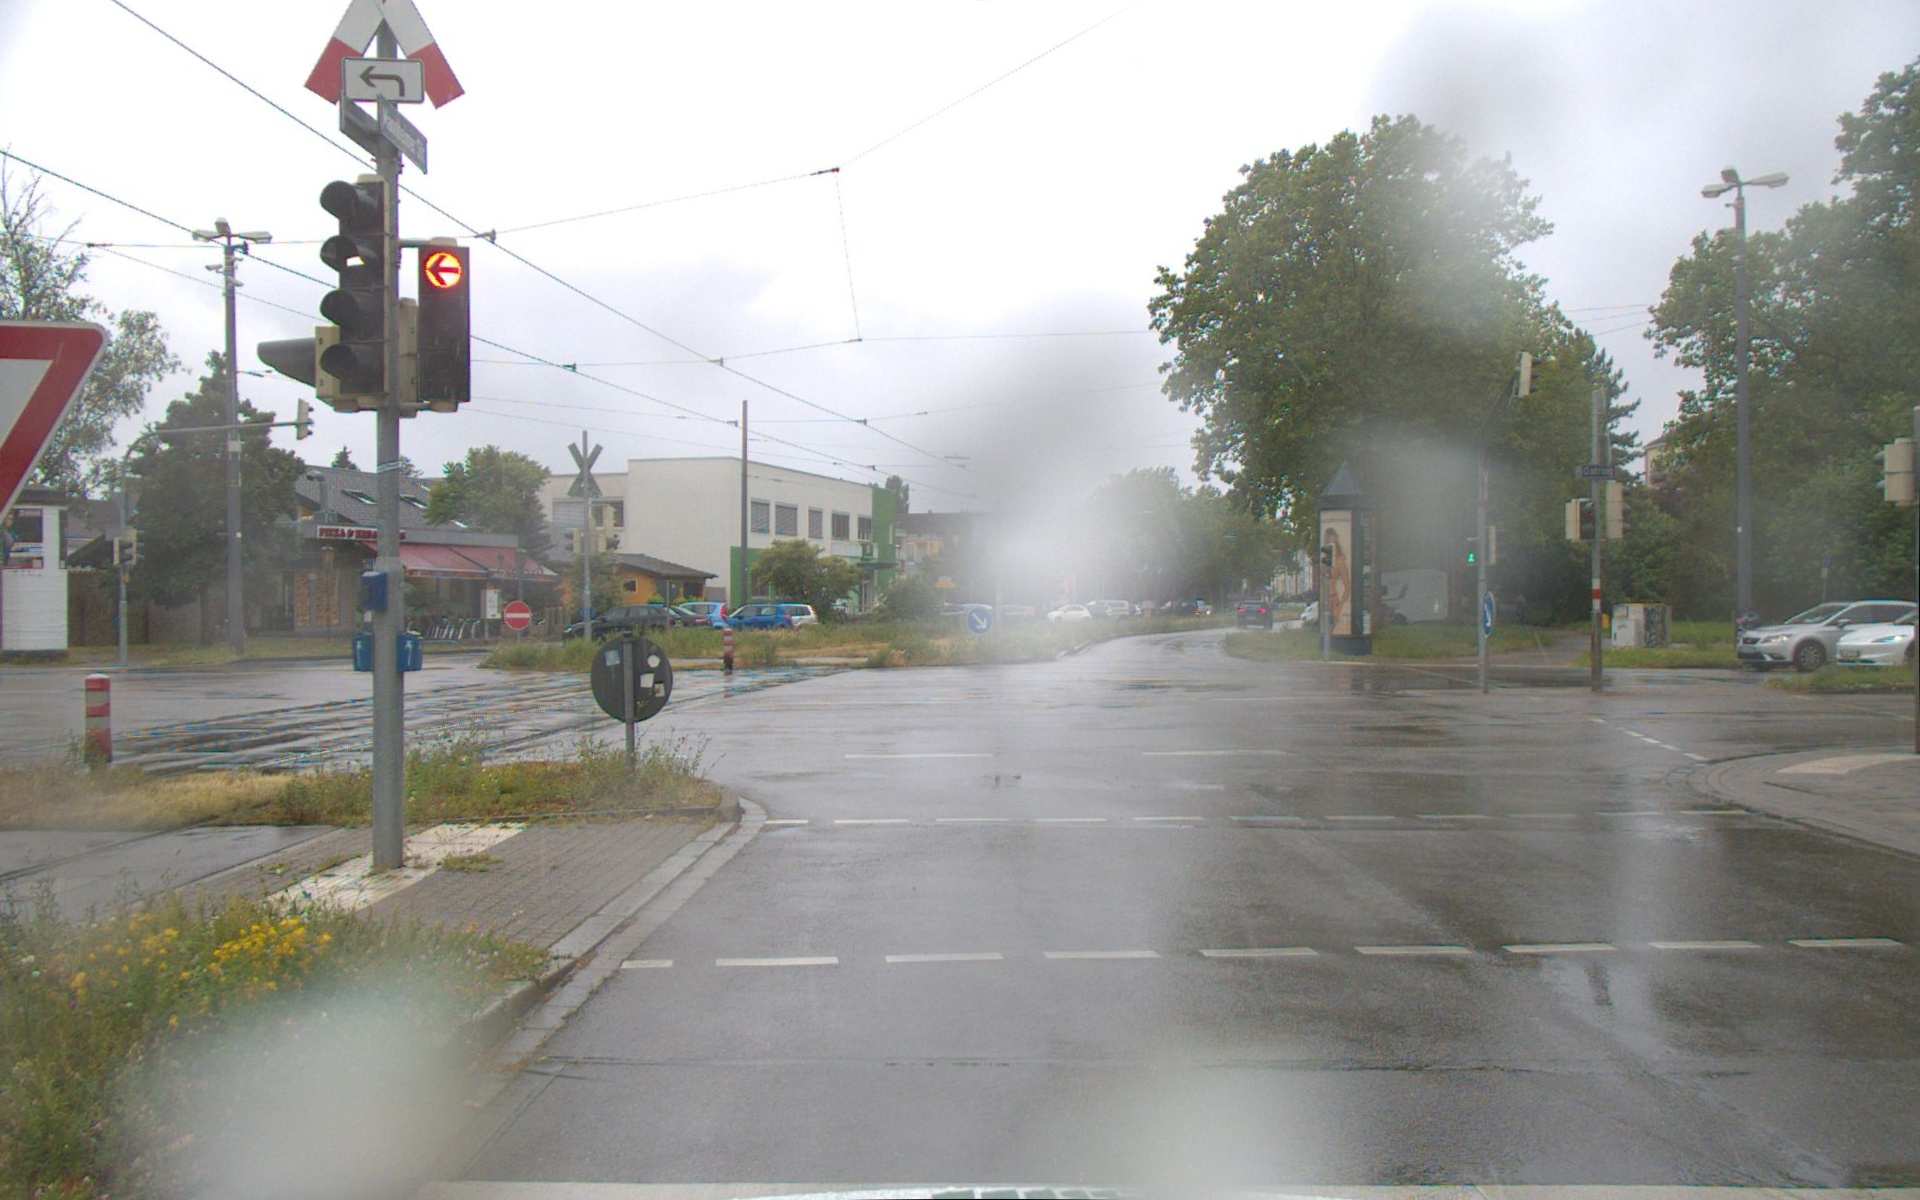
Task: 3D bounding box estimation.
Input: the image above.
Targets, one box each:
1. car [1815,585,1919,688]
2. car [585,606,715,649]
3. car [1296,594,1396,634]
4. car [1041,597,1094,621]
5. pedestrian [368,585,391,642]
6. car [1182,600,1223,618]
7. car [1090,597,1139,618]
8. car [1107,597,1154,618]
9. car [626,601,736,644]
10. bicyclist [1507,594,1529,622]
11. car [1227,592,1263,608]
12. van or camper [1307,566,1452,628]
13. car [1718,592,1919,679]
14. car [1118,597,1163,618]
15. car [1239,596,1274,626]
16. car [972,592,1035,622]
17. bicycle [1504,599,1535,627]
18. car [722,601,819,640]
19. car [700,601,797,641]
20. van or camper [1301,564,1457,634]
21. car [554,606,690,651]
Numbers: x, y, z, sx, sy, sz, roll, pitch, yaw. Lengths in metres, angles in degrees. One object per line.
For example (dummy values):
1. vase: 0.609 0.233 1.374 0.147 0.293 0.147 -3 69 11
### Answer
1. car: 18.873 0.704 31.299 4.506 1.860 1.931 1 0 -7
2. car: -11.447 0.997 61.200 4.405 1.443 1.858 -2 0 0
3. car: 18.191 0.655 77.853 4.352 1.747 2.000 1 0 21
4. car: 8.263 0.680 126.877 3.706 1.732 1.832 1 0 -11
5. pedestrian: -21.160 0.477 60.323 0.713 2.049 0.789 1 -1 -23
6. car: 25.607 0.933 174.488 3.909 1.864 1.998 1 0 -5
7. car: 13.531 0.641 145.017 3.916 1.789 2.004 1 0 -12
8. car: 15.877 0.681 154.072 3.916 1.864 1.994 1 0 -12
9. car: -10.887 0.874 64.599 3.903 1.609 1.859 0 0 4
10. bicyclist: 29.572 0.421 87.659 0.843 1.450 0.957 1 0 3
11. car: 34.283 -0.046 199.202 3.909 1.864 1.998 1 0 -5
12. van or camper: 22.868 -0.164 90.025 7.274 3.234 3.262 1 0 22
13. car: 18.444 0.731 34.633 4.309 1.721 1.931 1 0 -7
14. car: 17.350 0.728 159.164 3.909 1.864 1.998 1 0 -5
15. car: 17.670 0.640 98.458 1.768 1.716 3.914 1 0 15
16. car: 2.889 0.495 110.122 3.911 1.920 1.997 1 0 -7
17. bicycle: 29.557 0.700 87.404 0.843 1.450 2.704 1 0 3
18. car: -8.361 0.874 72.765 4.040 1.670 1.922 0 0 -15
19. car: -8.918 0.874 69.650 3.916 1.609 1.924 0 0 -12
20. van or camper: 20.503 -0.047 80.859 7.168 3.234 3.264 1 0 17
21. car: -11.980 0.994 58.784 4.385 1.443 1.858 -2 0 0
